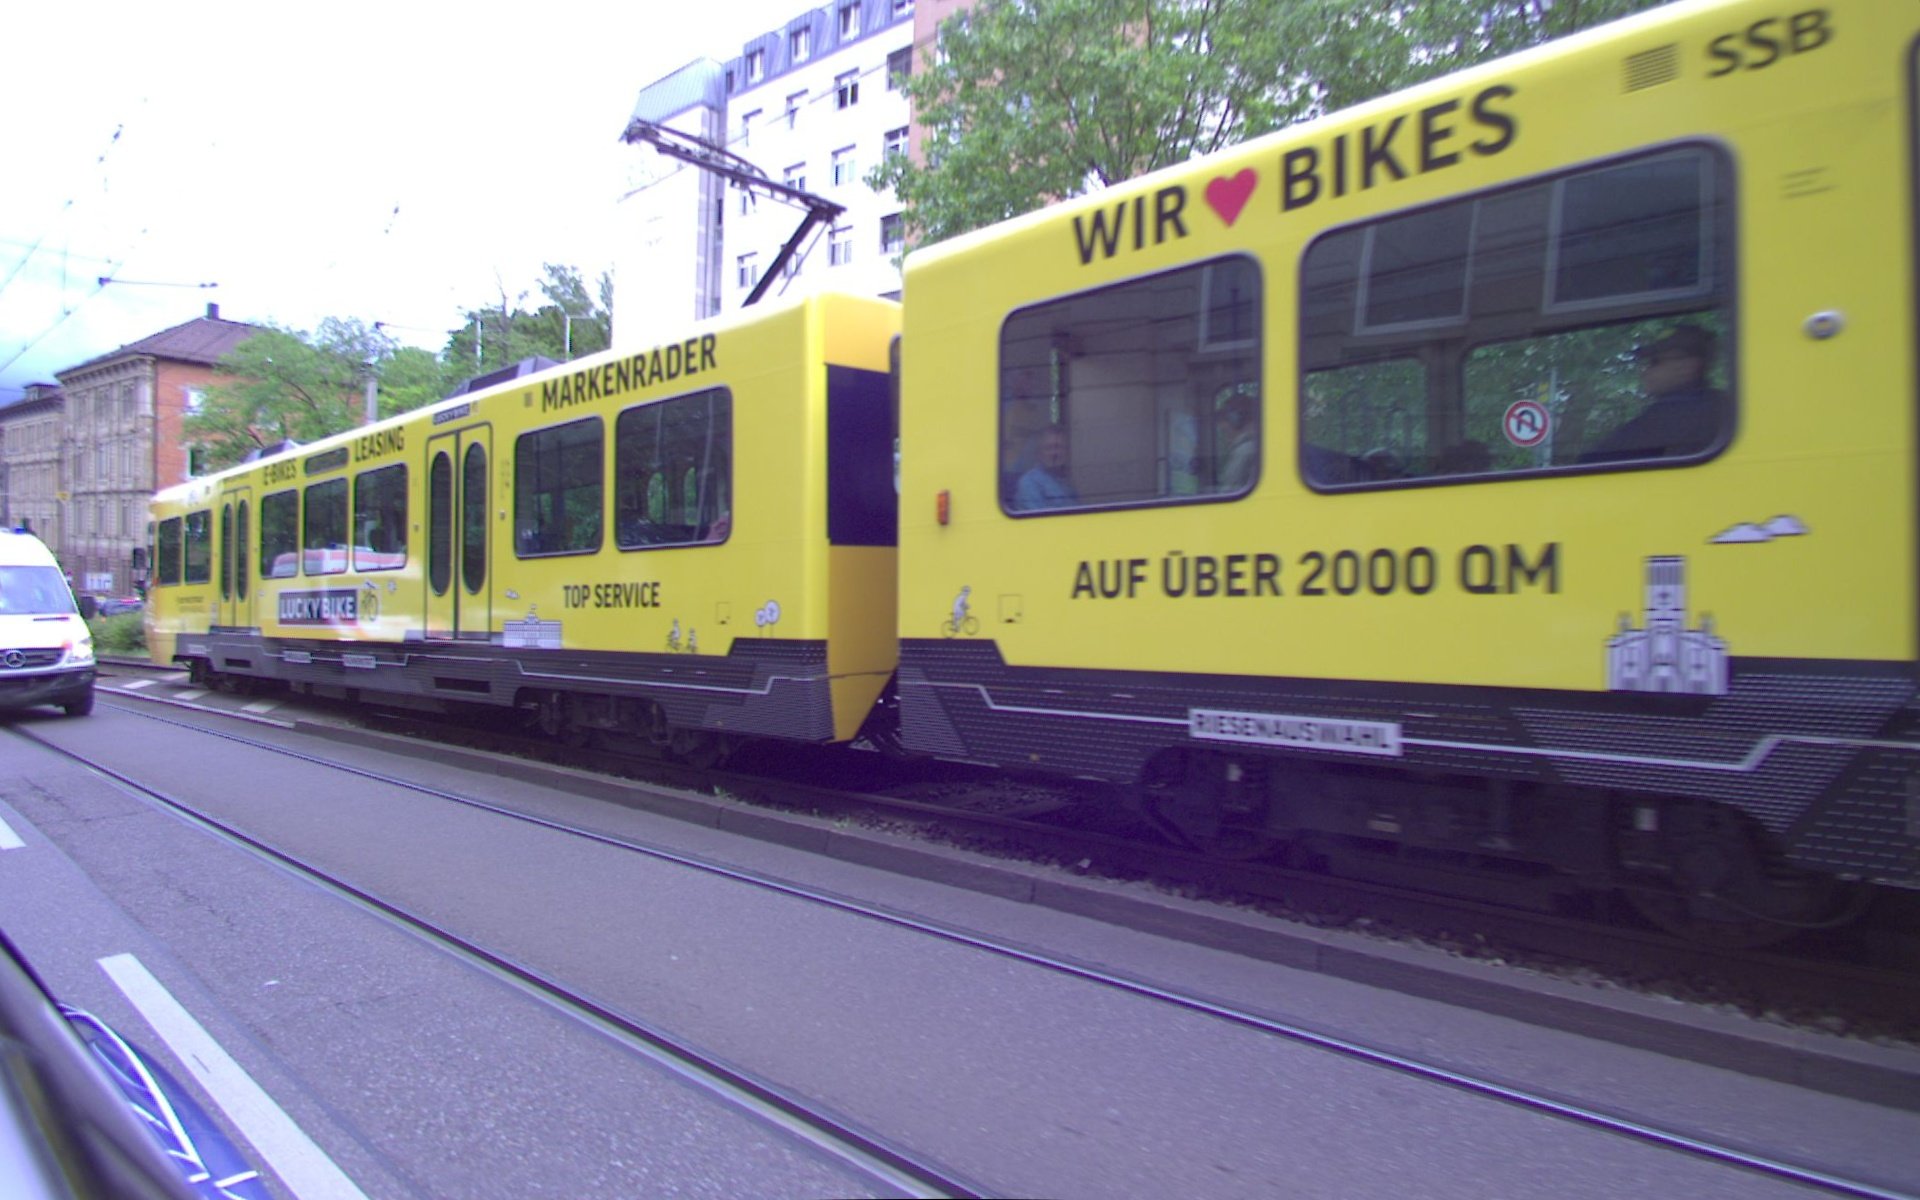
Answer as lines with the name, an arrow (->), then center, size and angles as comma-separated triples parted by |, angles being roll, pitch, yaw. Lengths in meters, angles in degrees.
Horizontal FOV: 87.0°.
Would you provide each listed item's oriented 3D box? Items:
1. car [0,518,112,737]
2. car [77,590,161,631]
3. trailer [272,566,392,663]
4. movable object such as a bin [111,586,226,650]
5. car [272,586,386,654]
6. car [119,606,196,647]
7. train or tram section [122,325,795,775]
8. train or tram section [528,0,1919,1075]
car -> -14.279, 0.404, 14.367 | 5.841, 2.720, 2.016 | -2, -1, 35
car -> -34.958, 0.462, 42.017 | 4.607, 1.617, 1.973 | -2, -1, 41
trailer -> -21.196, 0.454, 34.033 | 5.590, 2.995, 1.997 | -1, 1, 43
movable object such as a bin -> -46.567, 1.075, 59.550 | 6.511, 3.575, 2.732 | -1, -1, 25
car -> -26.174, 0.849, 41.871 | 6.330, 2.613, 2.135 | -2, -1, 39
car -> -29.452, 0.967, 37.105 | 3.739, 1.454, 1.641 | -2, -1, 42
train or tram section -> -8.342, -0.338, 14.351 | 14.845, 3.753, 2.853 | -1, 1, 40
train or tram section -> 4.458, -0.565, 3.272 | 18.692, 3.753, 2.847 | -1, 1, 41
